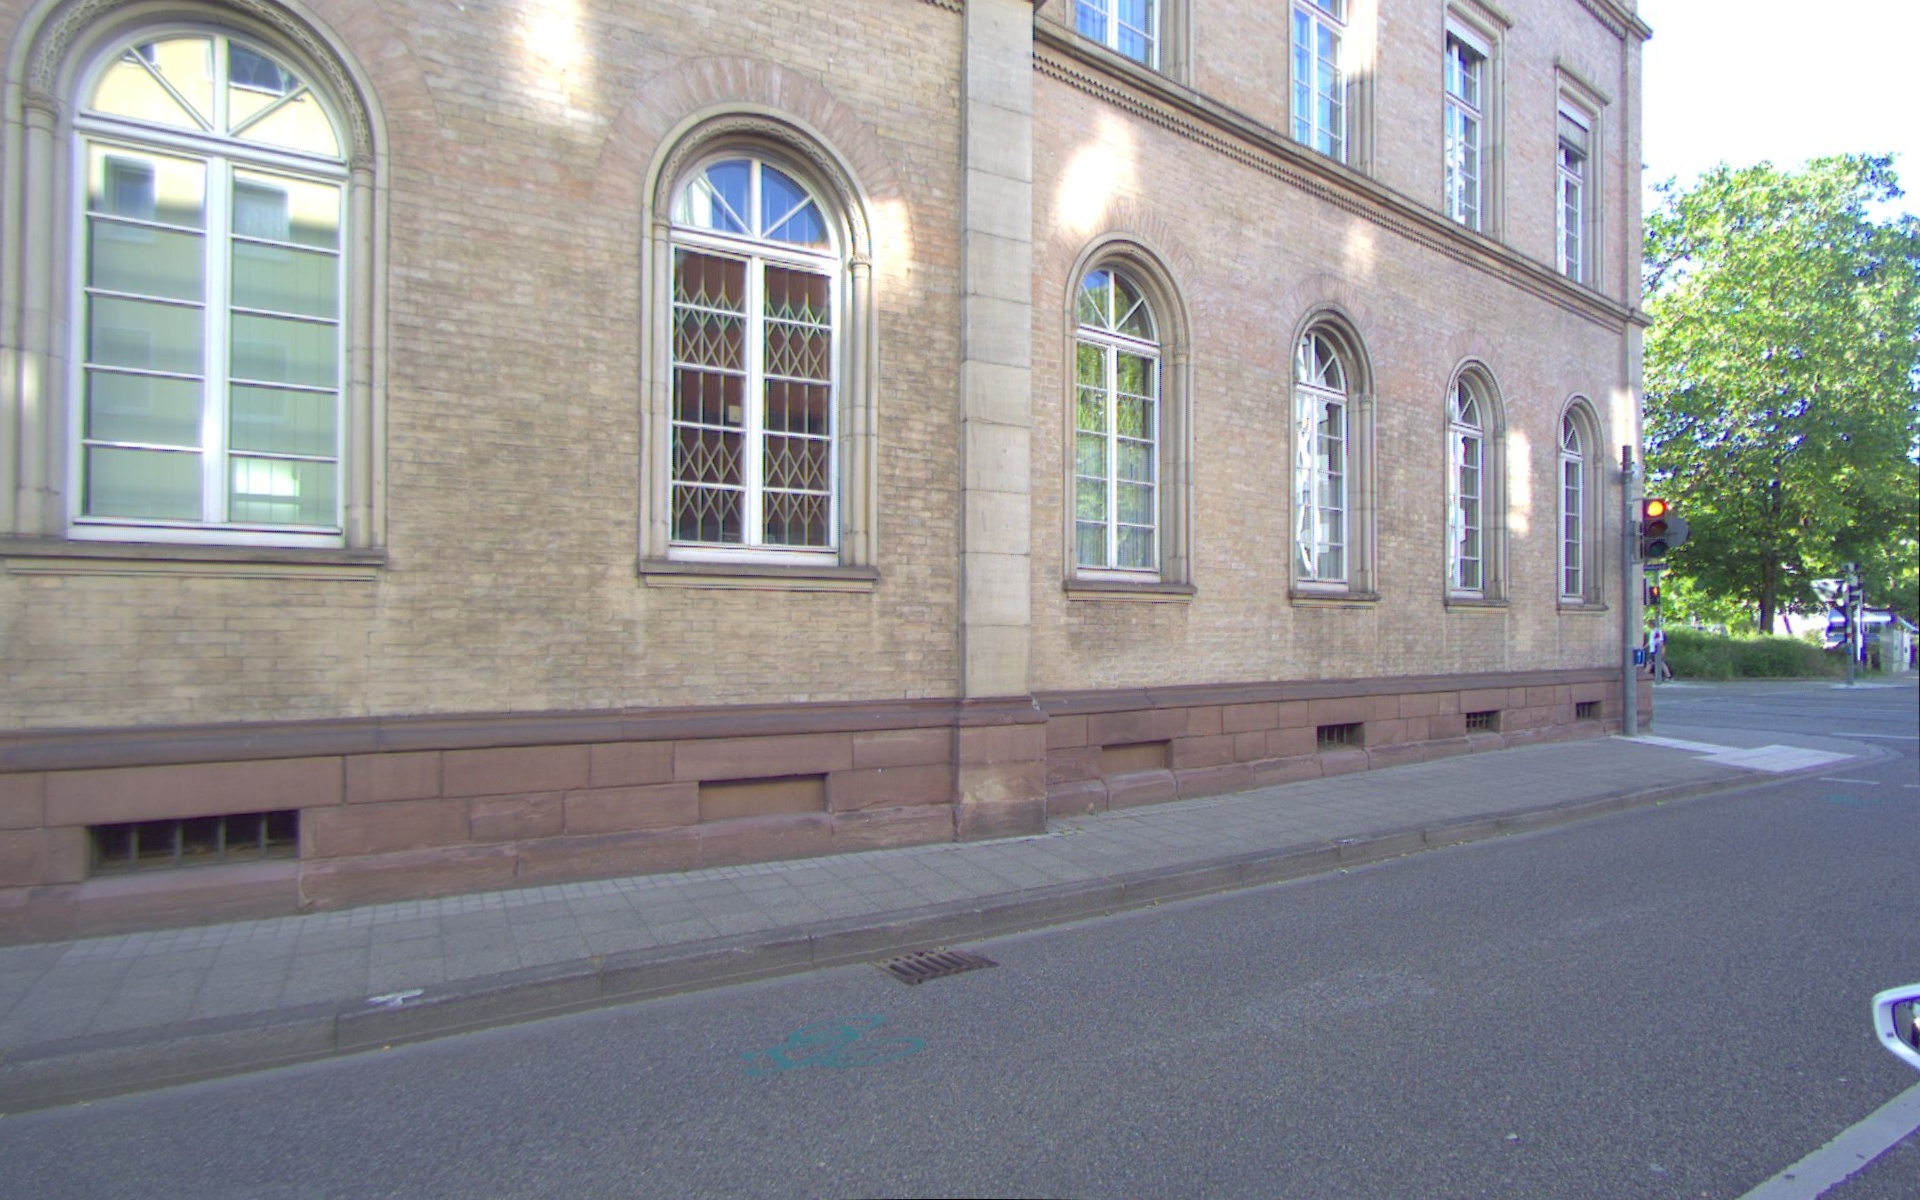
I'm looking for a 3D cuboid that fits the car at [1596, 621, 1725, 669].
[{"bbox_3d":[24.381,1.531,35.030,1.636,1.476,3.382,2,0,-39],"label":"car"}]

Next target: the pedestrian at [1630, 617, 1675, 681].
[{"bbox_3d":[21.012,1.468,30.510,0.898,1.893,0.743,2,0,17],"label":"pedestrian"}]

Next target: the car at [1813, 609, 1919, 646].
[{"bbox_3d":[53.503,1.610,59.392,1.983,2.040,4.409,2,0,-38],"label":"car"}]
